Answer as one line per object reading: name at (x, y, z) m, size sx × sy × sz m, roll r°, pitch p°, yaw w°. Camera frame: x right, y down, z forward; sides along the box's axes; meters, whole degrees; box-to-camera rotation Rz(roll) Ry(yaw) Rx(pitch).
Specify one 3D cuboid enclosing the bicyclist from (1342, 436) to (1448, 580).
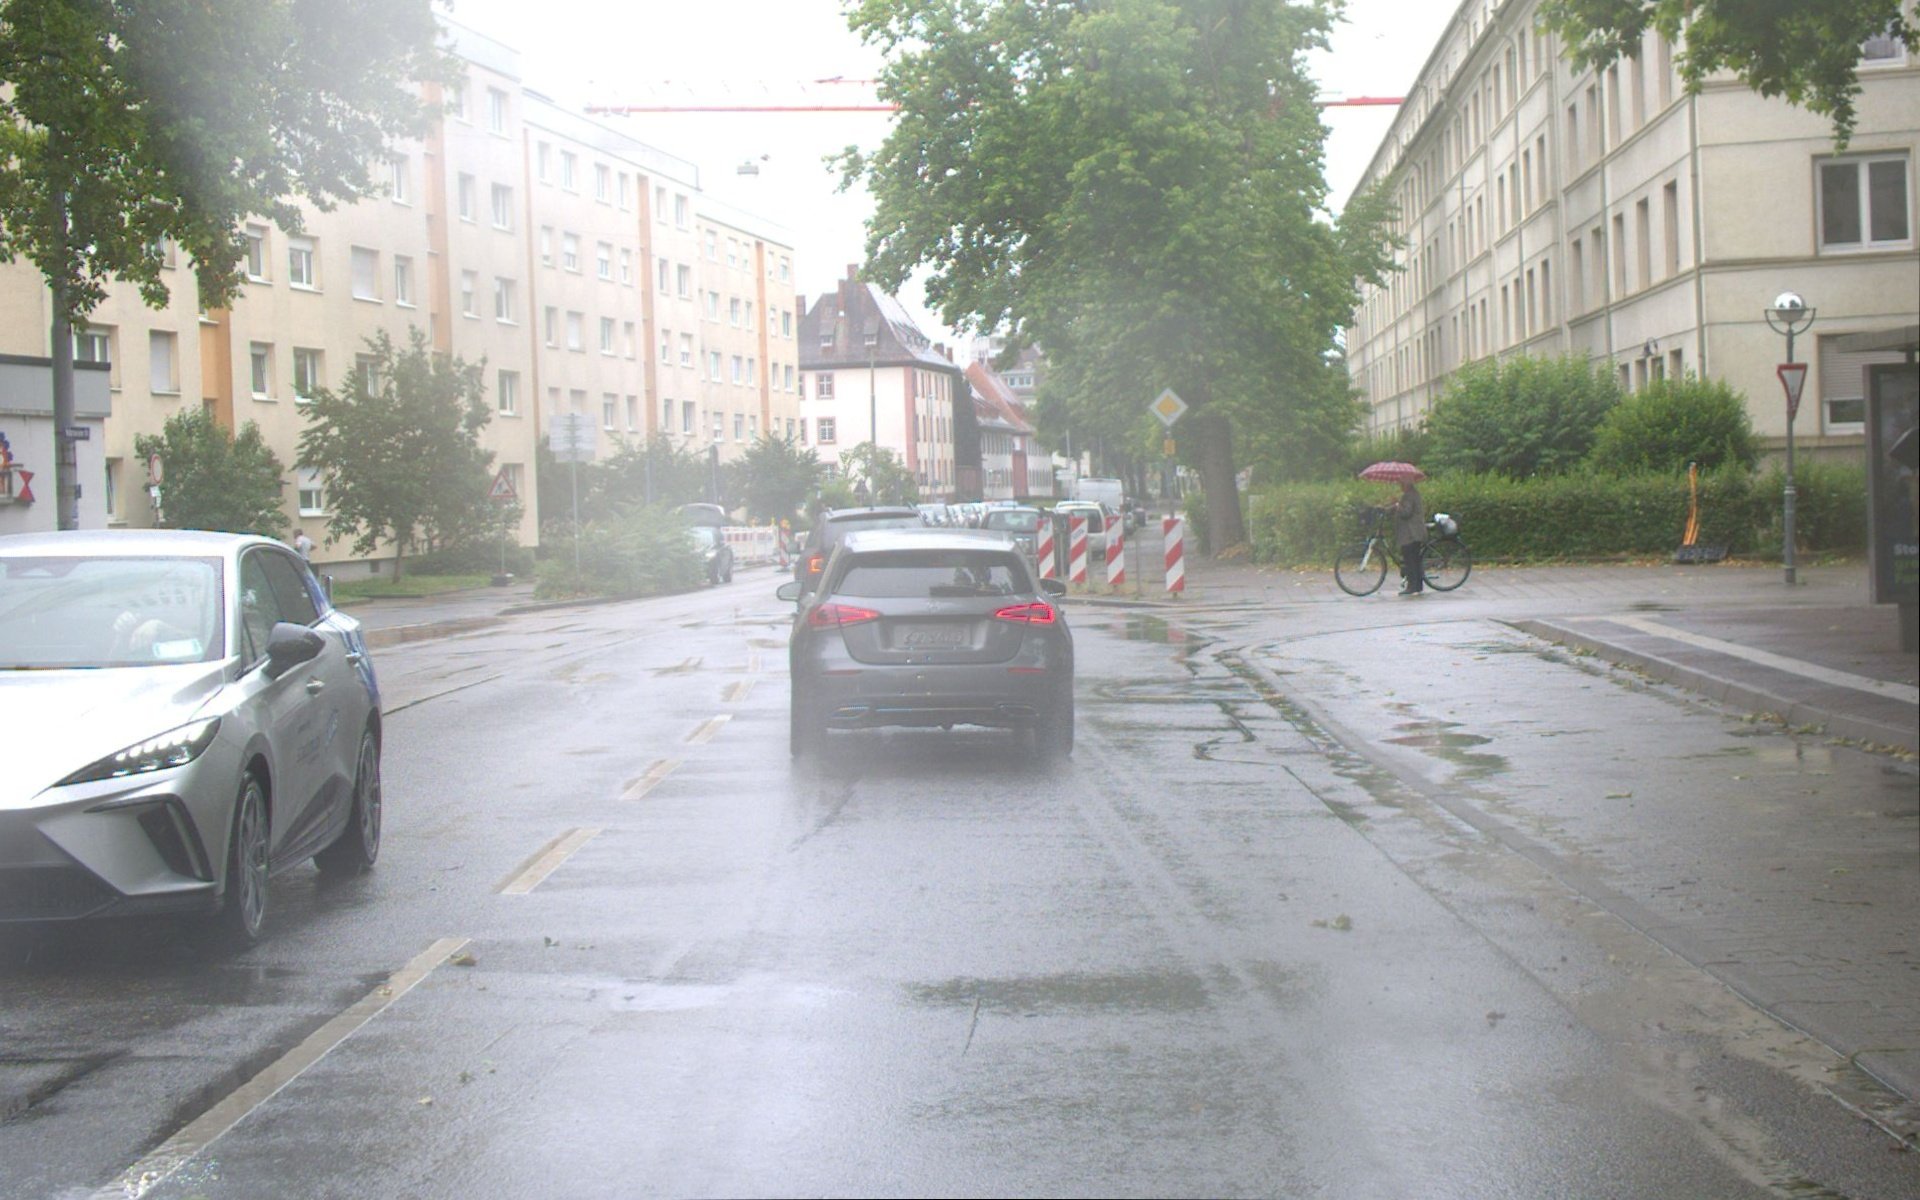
bicyclist at (5.811, -1.229, 45.964) m, size 0.938 × 1.861 × 1.143 m, roll -3°, pitch 2°, yaw -18°

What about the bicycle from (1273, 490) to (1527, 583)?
bicycle at (5.895, -0.861, 46.049) m, size 3.205 × 1.108 × 1.054 m, roll -3°, pitch 2°, yaw -18°

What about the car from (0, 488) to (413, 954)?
car at (-3.371, 0.354, 13.377) m, size 1.845 × 1.504 × 4.056 m, roll -2°, pitch 2°, yaw -1°

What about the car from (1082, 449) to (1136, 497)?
car at (6.103, -5.183, 140.418) m, size 2.047 × 1.830 × 4.792 m, roll -2°, pitch 2°, yaw 4°

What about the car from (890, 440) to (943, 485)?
car at (-1.859, -5.912, 148.057) m, size 1.890 × 1.830 × 4.000 m, roll -2°, pitch 2°, yaw 4°

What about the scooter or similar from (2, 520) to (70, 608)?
scooter or similar at (-13.722, -0.547, 51.073) m, size 0.438 × 1.261 × 1.375 m, roll -2°, pitch 2°, yaw 7°

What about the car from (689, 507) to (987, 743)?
car at (-0.737, 0.106, 22.565) m, size 1.791 × 1.367 × 3.507 m, roll -1°, pitch 2°, yaw 0°

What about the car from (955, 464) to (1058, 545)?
car at (0.957, -2.013, 72.348) m, size 1.993 × 1.568 × 4.001 m, roll -2°, pitch 2°, yaw -1°

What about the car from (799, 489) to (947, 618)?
car at (-0.993, -0.589, 40.947) m, size 1.607 × 1.367 × 4.001 m, roll -3°, pitch 2°, yaw 0°
